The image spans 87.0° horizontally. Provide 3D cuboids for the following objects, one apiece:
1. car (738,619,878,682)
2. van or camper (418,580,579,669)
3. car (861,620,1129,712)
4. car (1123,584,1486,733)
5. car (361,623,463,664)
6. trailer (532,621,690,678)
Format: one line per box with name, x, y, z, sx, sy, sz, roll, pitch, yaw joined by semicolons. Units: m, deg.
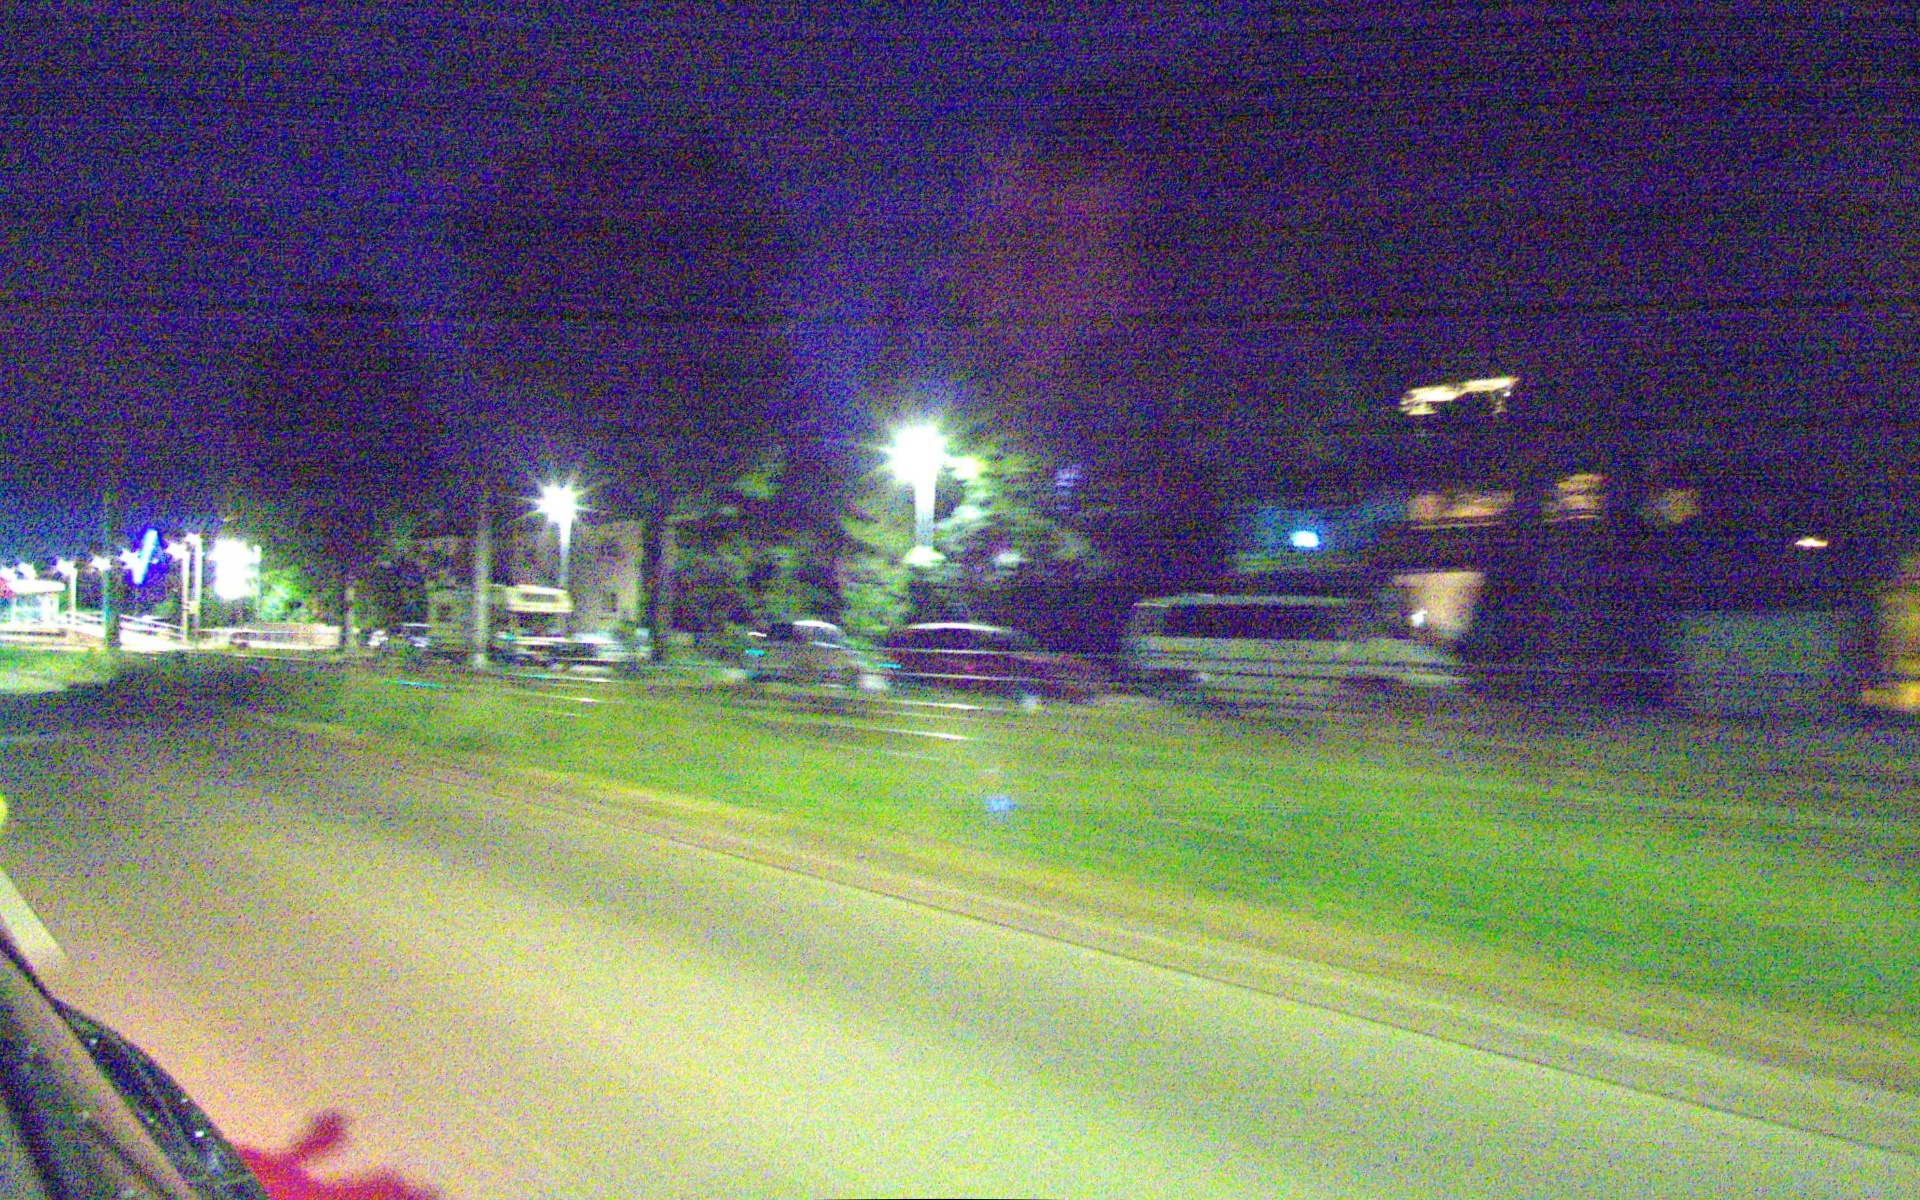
car;-3.429;1.104;23.167;1.531;1.336;3.001;-1;-1;36
van or camper;-15.066;0.842;32.925;5.654;2.668;2.252;-1;-4;37
car;0.524;1.148;19.317;5.172;1.534;1.881;-1;-2;43
car;5.054;0.790;15.270;4.873;1.918;1.839;-1;-2;38
car;-20.063;1.560;36.980;4.539;1.350;1.629;-1;-6;40
trailer;-9.979;1.387;28.756;2.392;1.385;4.658;7;-6;-44
